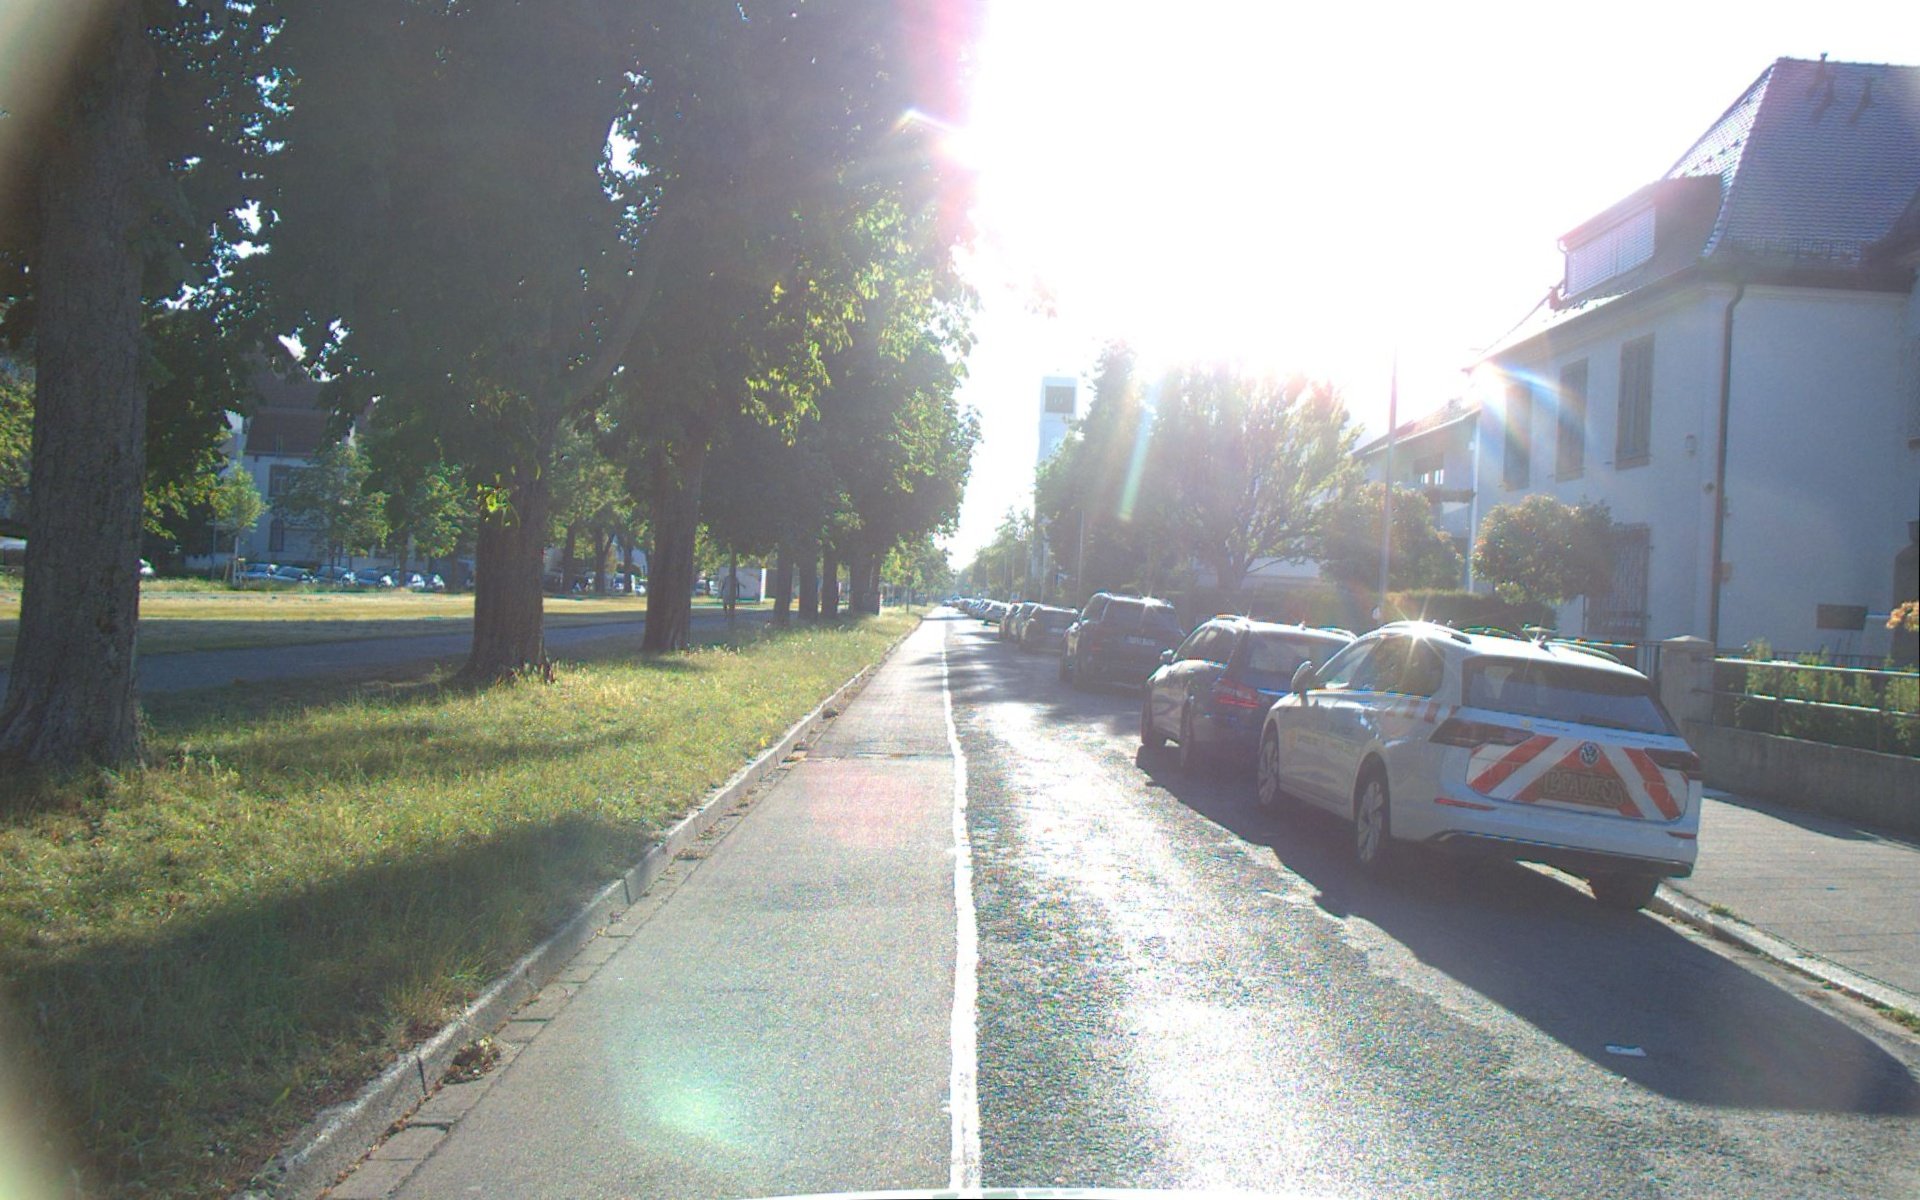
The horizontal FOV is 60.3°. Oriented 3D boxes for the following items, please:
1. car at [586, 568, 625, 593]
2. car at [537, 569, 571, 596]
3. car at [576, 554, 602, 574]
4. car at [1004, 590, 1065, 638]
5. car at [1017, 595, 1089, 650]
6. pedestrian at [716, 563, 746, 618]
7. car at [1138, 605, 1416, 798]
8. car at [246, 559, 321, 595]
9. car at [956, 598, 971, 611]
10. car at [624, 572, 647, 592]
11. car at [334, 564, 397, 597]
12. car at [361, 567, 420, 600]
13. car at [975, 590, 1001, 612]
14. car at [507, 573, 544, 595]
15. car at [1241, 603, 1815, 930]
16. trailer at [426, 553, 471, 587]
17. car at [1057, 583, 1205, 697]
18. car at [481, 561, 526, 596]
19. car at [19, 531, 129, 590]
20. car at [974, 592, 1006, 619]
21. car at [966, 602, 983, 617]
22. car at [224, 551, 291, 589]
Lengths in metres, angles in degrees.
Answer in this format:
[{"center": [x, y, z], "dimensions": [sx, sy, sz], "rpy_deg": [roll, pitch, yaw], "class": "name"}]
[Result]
[{"center": [-33.949, -1.846, 158.675], "dimensions": [2.483, 2.275, 5.459], "rpy_deg": [2, 1, 0], "class": "car"}, {"center": [-34.291, -1.498, 139.777], "dimensions": [1.650, 2.213, 4.314], "rpy_deg": [3, 1, 0], "class": "car"}, {"center": [-41.108, -3.956, 183.206], "dimensions": [1.953, 2.049, 4.483], "rpy_deg": [0, -1, -1], "class": "car"}, {"center": [2.713, 0.491, 60.946], "dimensions": [1.658, 1.508, 3.926], "rpy_deg": [6, 0, -4], "class": "car"}, {"center": [2.791, 0.668, 50.466], "dimensions": [1.757, 1.518, 4.673], "rpy_deg": [3, 0, -1], "class": "car"}, {"center": [-7.661, -0.321, 55.381], "dimensions": [0.709, 1.788, 0.994], "rpy_deg": [2, 1, 6], "class": "pedestrian"}, {"center": [3.010, 0.892, 16.684], "dimensions": [1.744, 1.488, 4.593], "rpy_deg": [5, 0, -1], "class": "car"}, {"center": [-34.012, -1.142, 83.256], "dimensions": [1.952, 1.713, 4.001], "rpy_deg": [3, 0, 2], "class": "car"}, {"center": [0.520, 0.632, 228.336], "dimensions": [1.940, 1.712, 4.000], "rpy_deg": [2, 0, 0], "class": "car"}, {"center": [-40.707, -2.289, 207.495], "dimensions": [1.953, 2.451, 4.363], "rpy_deg": [0, 0, 0], "class": "car"}, {"center": [-34.091, -1.103, 94.925], "dimensions": [1.953, 1.751, 4.255], "rpy_deg": [3, 0, 1], "class": "car"}, {"center": [-34.603, -0.980, 100.571], "dimensions": [1.953, 1.892, 4.255], "rpy_deg": [3, 0, 1], "class": "car"}, {"center": [2.100, 0.055, 126.243], "dimensions": [1.723, 1.633, 4.357], "rpy_deg": [2, 0, -2], "class": "car"}, {"center": [-34.071, -1.251, 129.702], "dimensions": [1.650, 1.587, 4.314], "rpy_deg": [2, 0, 0], "class": "car"}, {"center": [3.394, 0.886, 11.004], "dimensions": [1.955, 1.489, 4.548], "rpy_deg": [6, 0, -3], "class": "car"}, {"center": [-39.910, -2.319, 129.134], "dimensions": [1.953, 2.470, 4.723], "rpy_deg": [2, 0, 0], "class": "trailer"}, {"center": [3.075, 0.674, 30.776], "dimensions": [1.954, 1.767, 4.862], "rpy_deg": [6, 0, -2], "class": "car"}, {"center": [-40.142, -1.856, 145.662], "dimensions": [2.388, 2.973, 5.817], "rpy_deg": [0, 0, -1], "class": "car"}, {"center": [-33.792, -1.478, 63.191], "dimensions": [1.953, 2.048, 4.000], "rpy_deg": [3, 0, 0], "class": "car"}, {"center": [1.849, 0.338, 103.163], "dimensions": [1.722, 1.443, 4.072], "rpy_deg": [8, 0, 0], "class": "car"}, {"center": [1.695, 1.160, 193.992], "dimensions": [1.953, 1.658, 4.000], "rpy_deg": [2, 0, 0], "class": "car"}, {"center": [-39.338, -1.638, 92.682], "dimensions": [1.990, 2.049, 4.000], "rpy_deg": [0, 0, 0], "class": "car"}]
